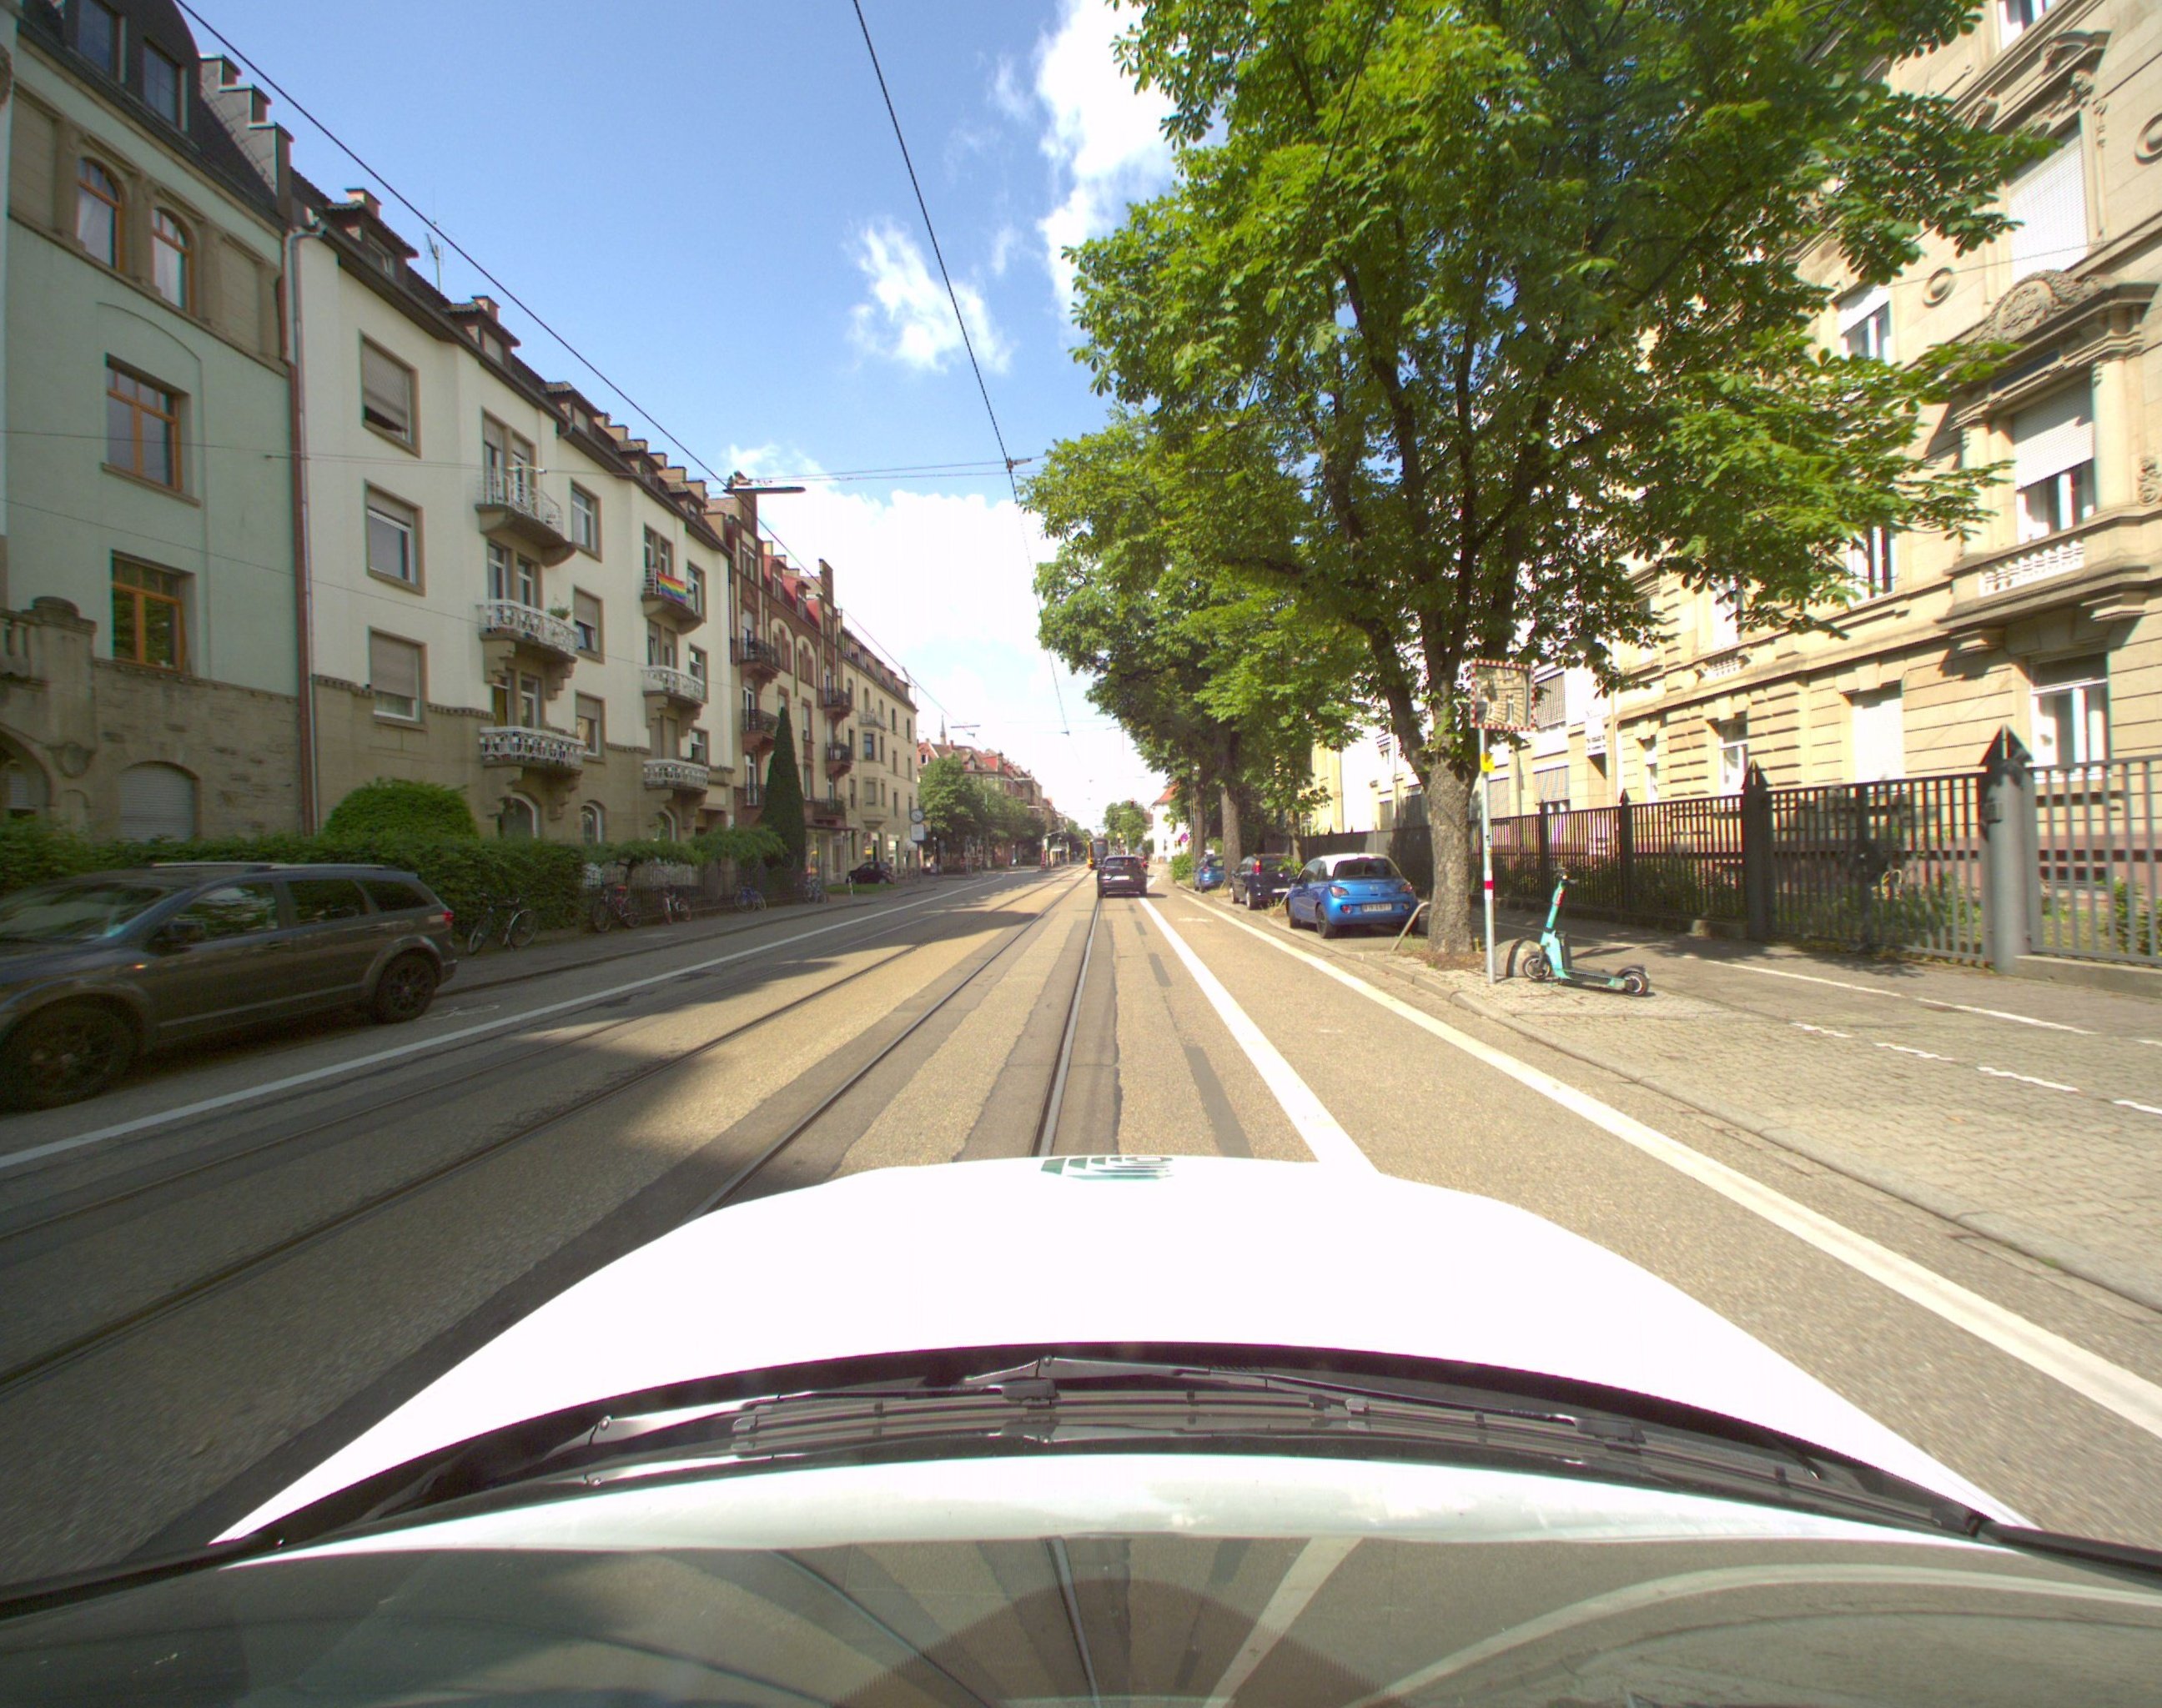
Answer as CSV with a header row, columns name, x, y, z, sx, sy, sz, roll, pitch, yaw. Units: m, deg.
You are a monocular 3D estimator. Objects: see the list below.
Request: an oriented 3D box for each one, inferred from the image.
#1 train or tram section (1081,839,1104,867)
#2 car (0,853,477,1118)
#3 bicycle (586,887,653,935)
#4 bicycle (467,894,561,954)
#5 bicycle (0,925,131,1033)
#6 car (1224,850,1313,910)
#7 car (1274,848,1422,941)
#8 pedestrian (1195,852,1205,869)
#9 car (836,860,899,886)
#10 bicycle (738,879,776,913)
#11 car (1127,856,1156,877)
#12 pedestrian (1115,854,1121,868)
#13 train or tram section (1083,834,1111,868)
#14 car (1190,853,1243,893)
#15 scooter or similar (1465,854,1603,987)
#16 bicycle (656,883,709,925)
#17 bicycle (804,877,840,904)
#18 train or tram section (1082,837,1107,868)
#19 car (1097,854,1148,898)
name,x,y,z,sx,sy,sz,roll,pitch,yaw
train or tram section,1.424,-0.044,108.557,2.644,3.528,8.491,-3,-1,-1
car,-8.121,0.908,7.280,1.779,1.762,4.881,-2,0,-1
bicycle,-10.472,1.264,18.541,0.381,0.959,1.803,0,0,4
bicycle,-10.502,1.264,15.162,0.449,0.959,1.801,0,0,1
bicycle,-10.741,1.269,8.042,0.381,0.959,1.923,0,0,4
car,5.339,0.694,23.635,1.634,1.496,3.757,-3,0,0
car,5.005,0.702,15.765,1.634,1.496,3.627,-3,0,0
pedestrian,11.156,0.589,76.577,0.870,1.605,0.632,-2,-1,5
car,-12.752,1.113,48.766,3.221,1.513,1.681,0,-1,5
bicycle,-10.099,1.288,25.421,0.424,0.959,1.707,0,0,4
car,4.543,0.907,61.917,1.779,1.492,4.881,-2,0,-1
pedestrian,4.251,0.778,93.218,0.665,1.605,0.700,-2,-1,0
train or tram section,1.704,-0.248,91.570,2.644,3.528,8.491,-3,-1,-1
car,5.587,0.759,34.042,1.618,1.496,3.849,-4,0,2
scooter or similar,4.856,0.680,8.791,0.443,1.299,1.171,-5,2,-29
bicycle,-10.260,1.263,21.022,0.381,0.975,1.803,0,0,4
bicycle,-9.823,1.372,30.982,0.508,0.959,1.819,1,-2,9
train or tram section,1.562,-0.137,100.069,2.644,3.528,8.491,-3,-1,-1
car,1.493,0.793,30.691,1.783,1.512,4.351,-1,-1,1
